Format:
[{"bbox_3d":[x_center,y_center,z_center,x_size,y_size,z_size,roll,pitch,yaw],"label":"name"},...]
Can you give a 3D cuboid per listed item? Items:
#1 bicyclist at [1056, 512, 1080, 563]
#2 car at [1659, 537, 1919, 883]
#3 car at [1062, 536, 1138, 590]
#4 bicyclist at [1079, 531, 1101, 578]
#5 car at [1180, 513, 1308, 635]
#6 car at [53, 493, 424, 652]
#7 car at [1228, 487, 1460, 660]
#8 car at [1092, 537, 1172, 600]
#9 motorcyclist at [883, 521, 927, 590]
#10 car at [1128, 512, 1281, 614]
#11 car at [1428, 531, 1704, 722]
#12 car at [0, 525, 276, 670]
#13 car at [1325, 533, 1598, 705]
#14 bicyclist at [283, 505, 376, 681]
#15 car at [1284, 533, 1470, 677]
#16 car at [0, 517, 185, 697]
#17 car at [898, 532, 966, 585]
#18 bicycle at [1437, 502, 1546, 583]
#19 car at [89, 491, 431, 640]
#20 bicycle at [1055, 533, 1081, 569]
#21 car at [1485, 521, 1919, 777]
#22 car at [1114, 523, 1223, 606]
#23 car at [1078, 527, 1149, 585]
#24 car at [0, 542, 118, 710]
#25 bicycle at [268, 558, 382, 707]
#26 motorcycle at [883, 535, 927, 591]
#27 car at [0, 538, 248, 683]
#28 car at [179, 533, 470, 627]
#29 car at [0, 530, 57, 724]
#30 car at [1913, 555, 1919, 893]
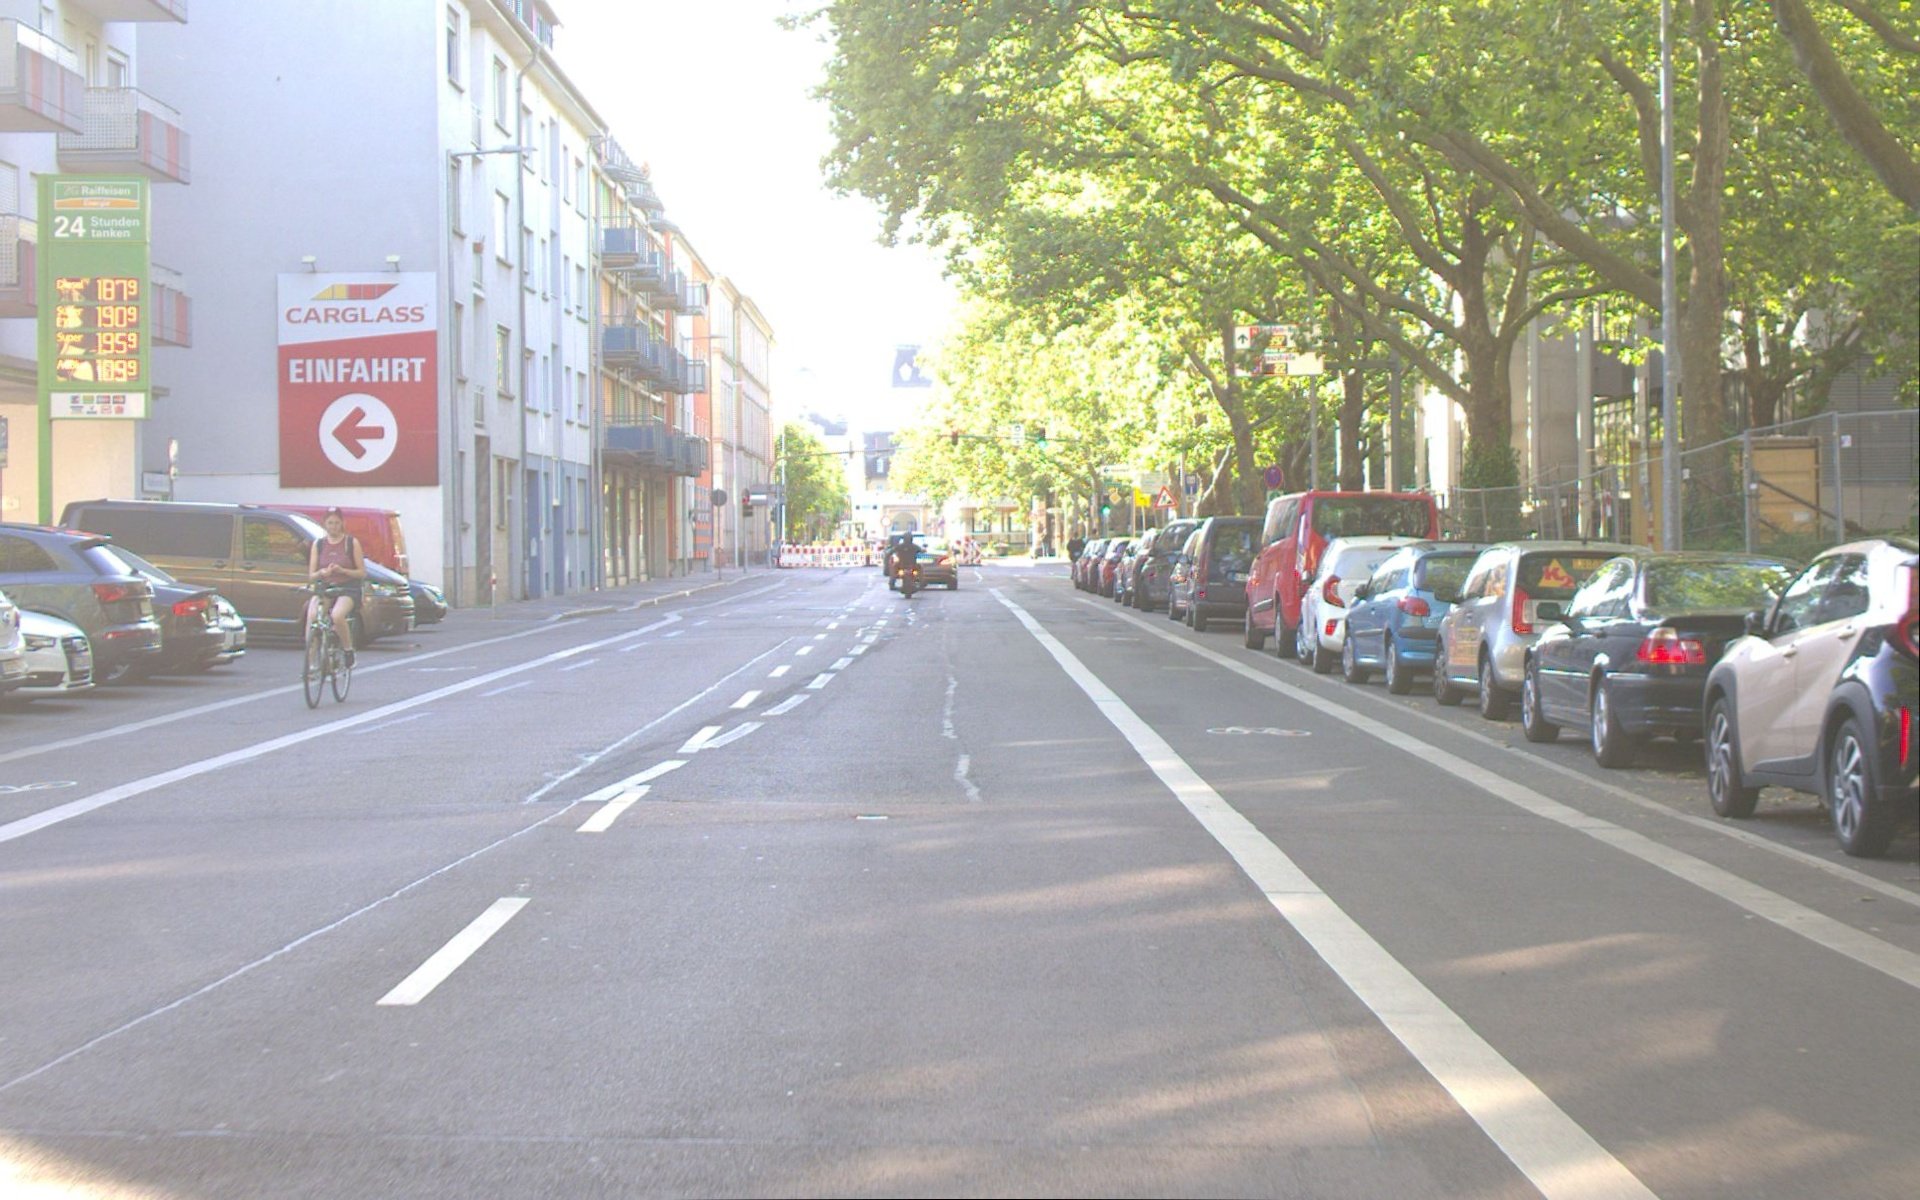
[{"bbox_3d":[3.243,-1.873,102.910,0.656,1.525,0.852,1,0,-1],"label":"bicyclist"},{"bbox_3d":[4.939,0.458,17.293,1.855,1.517,4.297,1,1,-1],"label":"car"},{"bbox_3d":[3.897,-1.055,96.129,1.692,1.444,4.437,2,1,-3],"label":"car"},{"bbox_3d":[4.216,-1.479,111.724,0.656,1.525,0.906,1,0,-1],"label":"bicyclist"},{"bbox_3d":[4.428,-0.427,54.071,1.693,1.806,4.130,2,1,1],"label":"car"},{"bbox_3d":[-9.698,-0.389,46.460,4.522,1.945,2.057,2,1,0],"label":"car"},{"bbox_3d":[4.721,-0.359,43.041,2.078,1.987,5.172,1,1,-2],"label":"car"},{"bbox_3d":[4.251,-0.805,85.465,1.693,1.474,4.319,2,1,0],"label":"car"},{"bbox_3d":[-1.294,-1.054,81.389,1.012,1.596,1.406,-1,1,-1],"label":"motorcyclist"},{"bbox_3d":[4.624,-0.726,65.719,1.824,1.835,4.901,1,1,-9],"label":"car"},{"bbox_3d":[5.085,0.179,29.247,1.613,1.470,3.493,2,1,-1],"label":"car"},{"bbox_3d":[-9.679,-0.058,38.434,3.685,1.508,1.831,2,1,0],"label":"car"},{"bbox_3d":[4.832,0.141,33.656,1.855,1.505,3.930,2,1,-3],"label":"car"},{"bbox_3d":[-5.703,-0.075,31.129,0.607,1.539,0.934,-2,2,0],"label":"bicyclist"},{"bbox_3d":[4.587,0.014,38.251,1.638,1.480,3.759,2,1,1],"label":"car"},{"bbox_3d":[-9.867,0.033,33.427,4.194,1.678,2.028,1,1,0],"label":"car"},{"bbox_3d":[-0.782,-1.153,94.501,1.828,1.415,3.815,0,1,-1],"label":"car"},{"bbox_3d":[13.310,-1.441,86.166,2.597,2.007,0.742,-1,1,0],"label":"bicycle"},{"bbox_3d":[-9.992,-0.508,49.308,4.421,1.945,2.146,2,1,0],"label":"car"},{"bbox_3d":[3.234,-1.462,102.954,0.656,1.066,1.927,1,0,-1],"label":"bicycle"},{"bbox_3d":[4.895,0.249,23.263,1.855,1.517,4.599,1,1,-1],"label":"car"},{"bbox_3d":[4.285,-0.748,71.136,1.775,1.622,4.621,2,1,-2],"label":"car"},{"bbox_3d":[4.050,-1.181,91.091,1.693,1.461,4.065,2,1,0],"label":"car"},{"bbox_3d":[-9.760,0.193,30.783,3.987,1.428,1.853,1,1,0],"label":"car"},{"bbox_3d":[-5.703,0.271,30.977,0.607,1.235,2.050,-2,2,0],"label":"bicycle"},{"bbox_3d":[-1.298,-0.887,81.443,1.012,1.302,2.673,-1,1,-1],"label":"motorcycle"},{"bbox_3d":[-9.683,0.078,36.160,3.987,1.451,1.916,1,1,0],"label":"car"},{"bbox_3d":[-10.067,-0.321,54.688,4.228,1.375,2.046,1,0,0],"label":"car"},{"bbox_3d":[-9.768,0.183,28.656,3.987,1.554,1.853,1,1,0],"label":"car"},{"bbox_3d":[5.049,0.575,12.380,1.855,1.431,4.603,1,1,-1],"label":"car"}]
